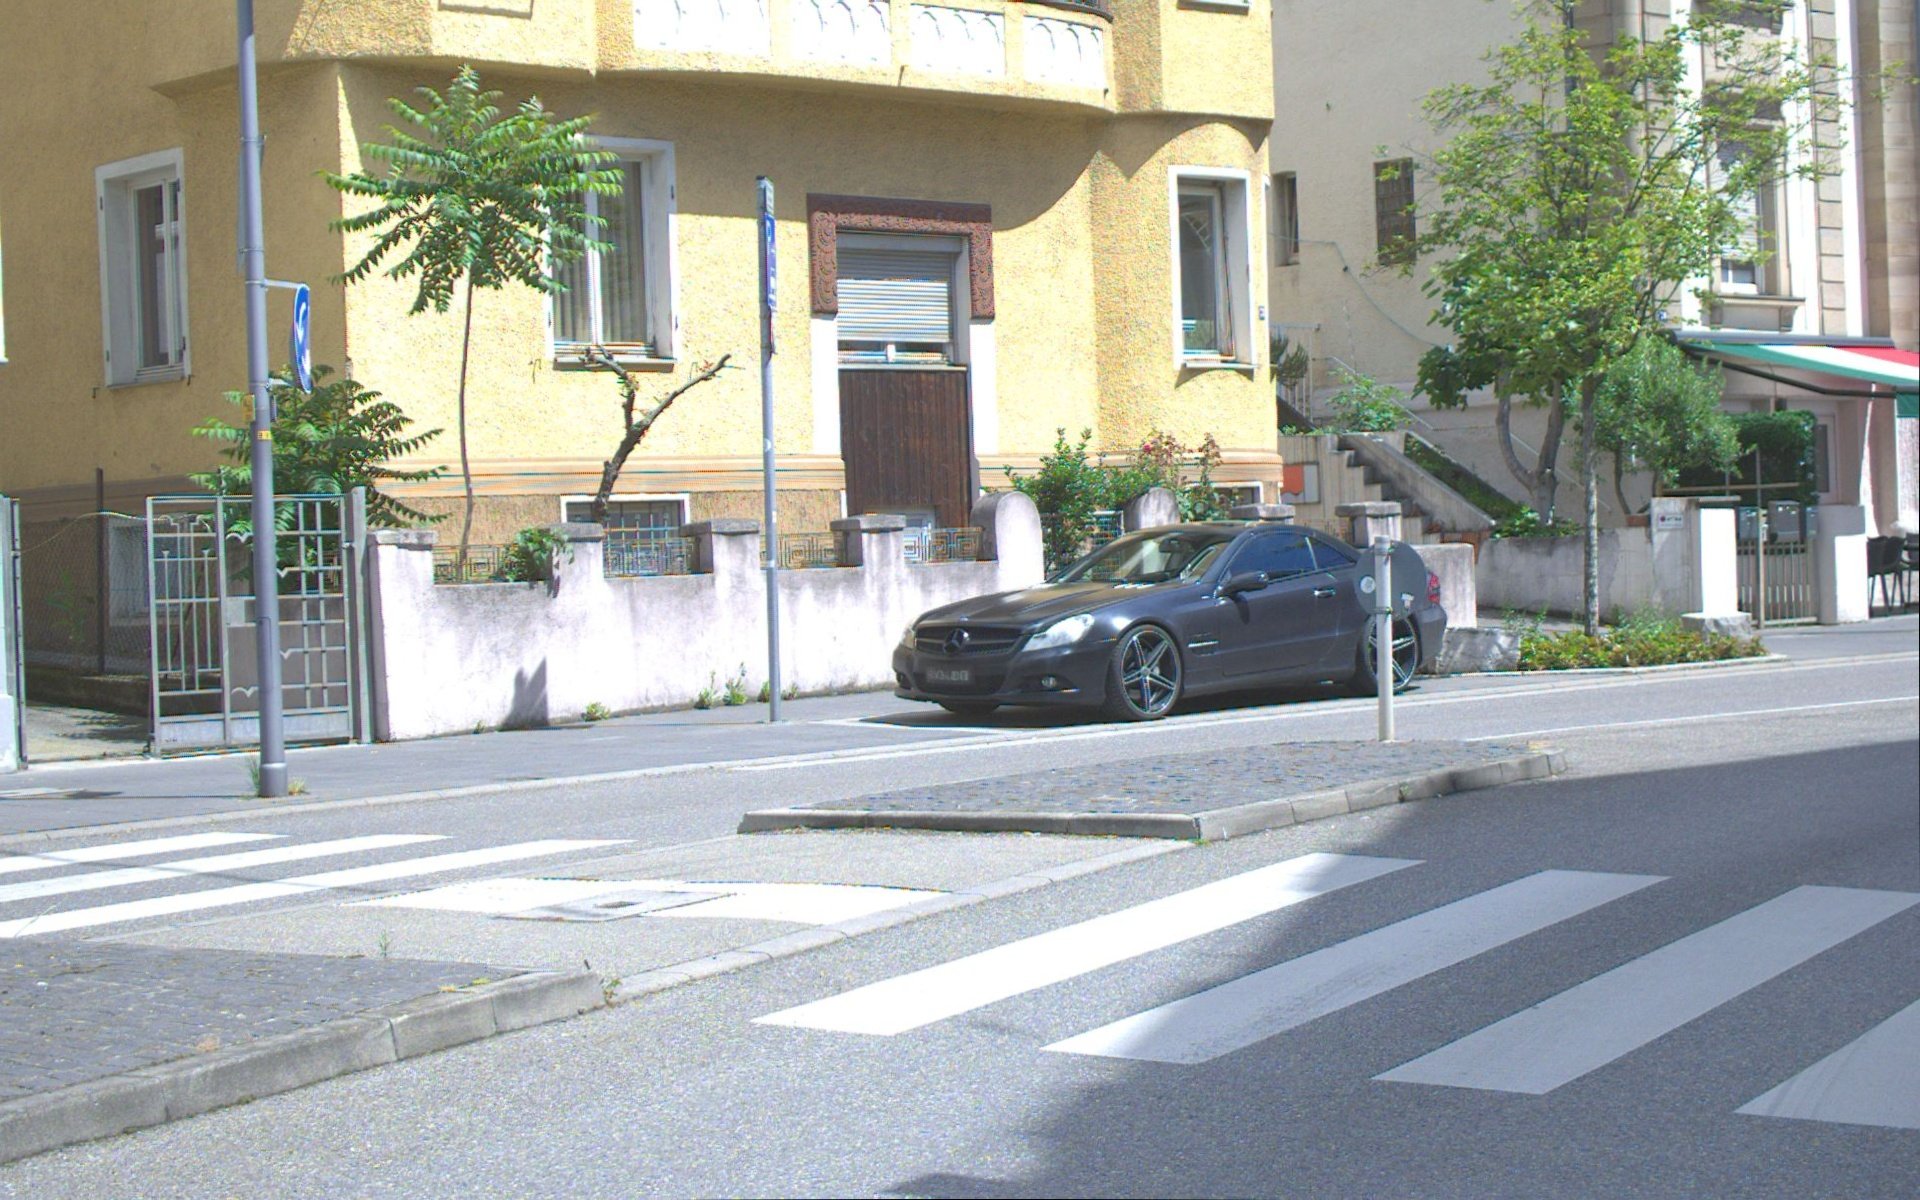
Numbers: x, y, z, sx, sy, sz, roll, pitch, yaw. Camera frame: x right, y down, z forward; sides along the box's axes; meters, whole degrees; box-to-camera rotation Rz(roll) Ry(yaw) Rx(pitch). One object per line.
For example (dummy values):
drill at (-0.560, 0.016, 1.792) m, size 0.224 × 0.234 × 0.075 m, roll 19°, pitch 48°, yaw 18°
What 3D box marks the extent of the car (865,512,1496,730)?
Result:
car at (1.613, 0.096, 24.016) m, size 4.399 × 1.241 × 1.714 m, roll -4°, pitch 2°, yaw -40°
